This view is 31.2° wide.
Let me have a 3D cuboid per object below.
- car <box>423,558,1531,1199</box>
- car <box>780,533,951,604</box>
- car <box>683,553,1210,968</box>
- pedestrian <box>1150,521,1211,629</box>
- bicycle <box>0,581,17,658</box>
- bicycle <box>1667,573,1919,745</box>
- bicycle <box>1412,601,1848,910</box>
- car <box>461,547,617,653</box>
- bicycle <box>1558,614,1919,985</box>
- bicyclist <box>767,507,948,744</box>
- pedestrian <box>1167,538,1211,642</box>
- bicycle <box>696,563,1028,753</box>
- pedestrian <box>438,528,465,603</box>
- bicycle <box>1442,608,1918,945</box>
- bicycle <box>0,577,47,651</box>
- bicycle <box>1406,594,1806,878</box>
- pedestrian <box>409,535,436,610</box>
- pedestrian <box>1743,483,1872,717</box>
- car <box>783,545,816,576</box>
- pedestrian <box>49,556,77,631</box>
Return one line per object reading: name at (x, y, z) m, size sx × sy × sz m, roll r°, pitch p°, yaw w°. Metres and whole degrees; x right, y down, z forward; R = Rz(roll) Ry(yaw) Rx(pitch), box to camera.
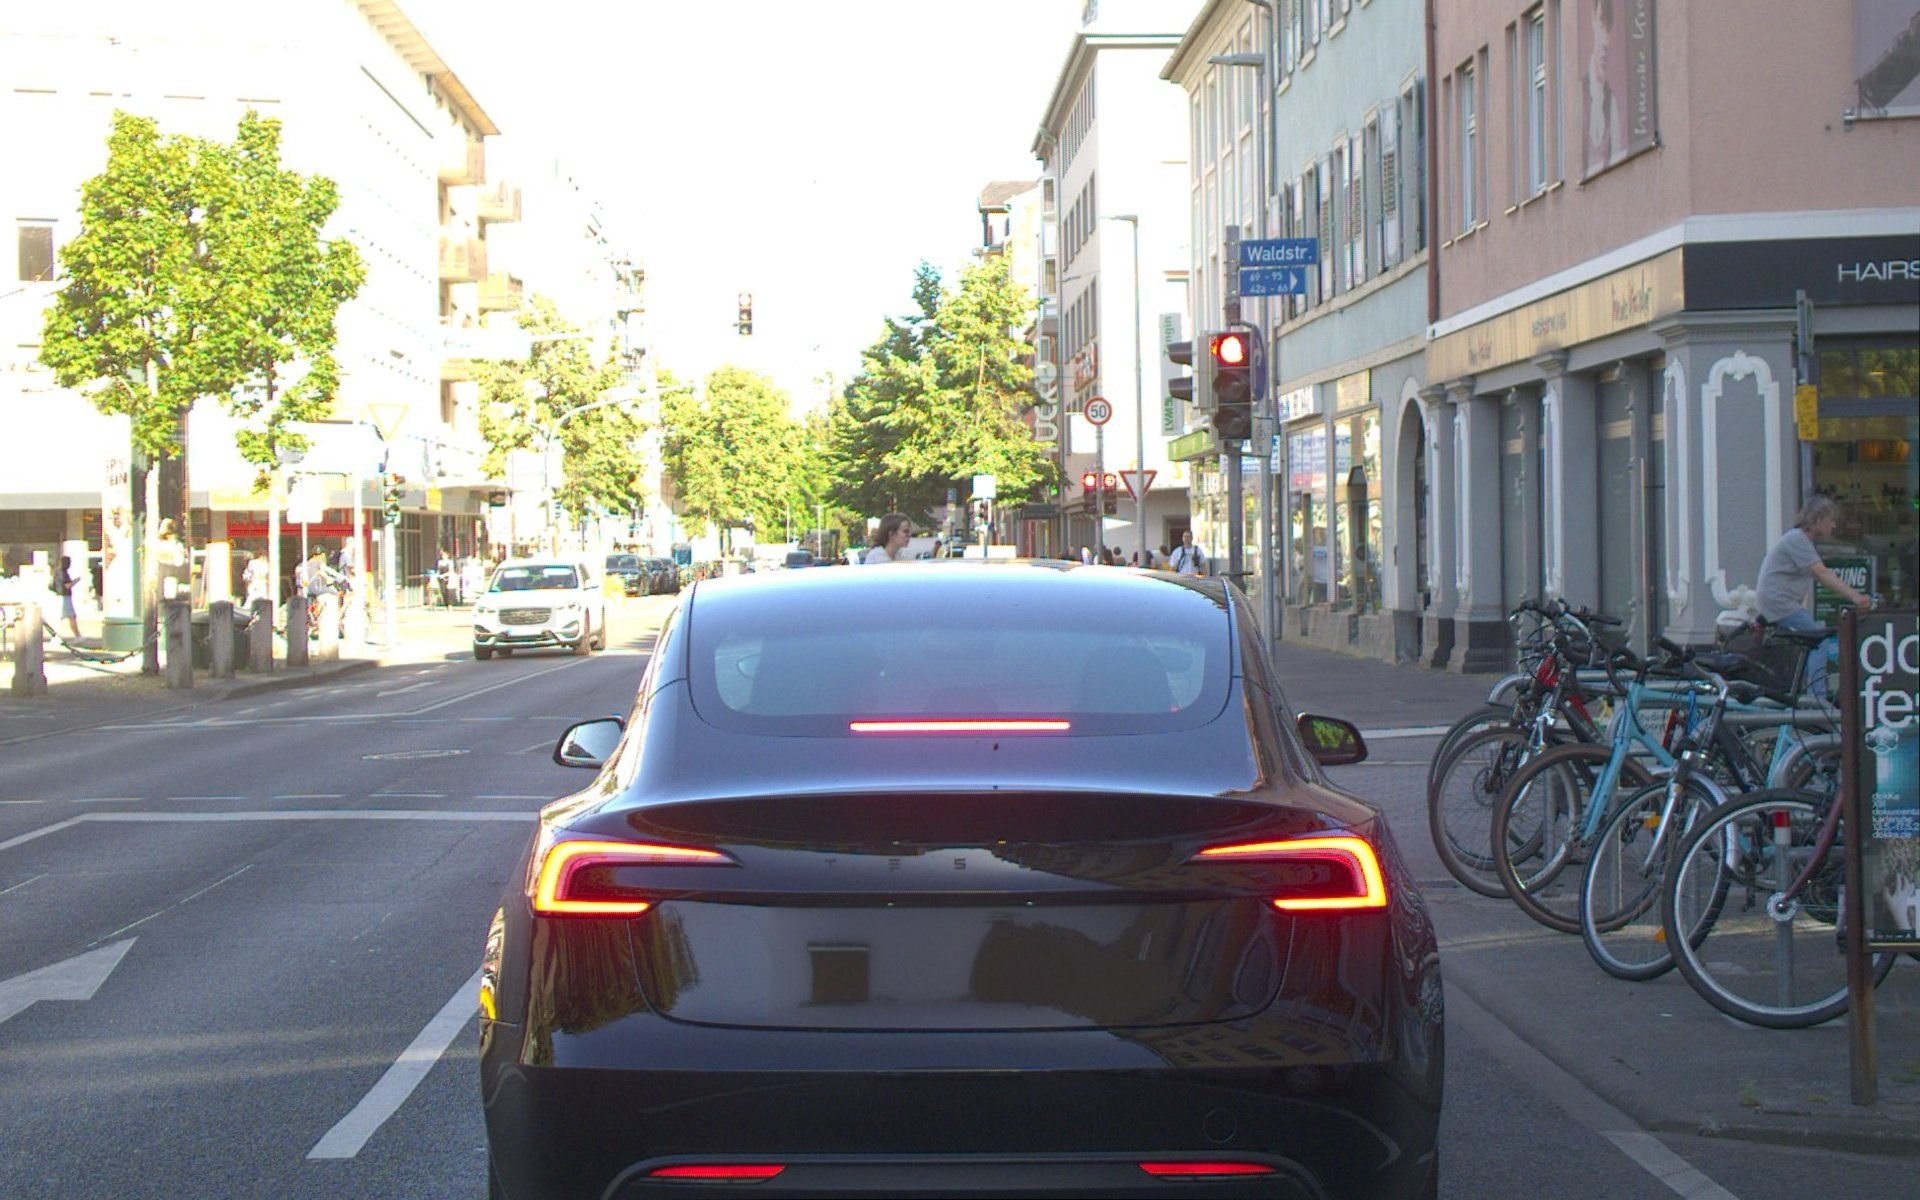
car at (0.034, 0.640, 7.639) m, size 1.850 × 1.450 × 3.786 m, roll 0°, pitch 1°, yaw 0°
car at (-2.397, -0.812, 85.929) m, size 2.050 × 1.721 × 4.653 m, roll -1°, pitch 1°, yaw -35°
car at (-0.041, 0.539, 13.976) m, size 1.850 × 1.450 × 3.786 m, roll 0°, pitch 1°, yaw 0°
pedestrian at (3.783, -0.431, 59.045) m, size 0.999 × 1.844 × 0.615 m, roll 0°, pitch 1°, yaw -1°
bicycle at (-14.917, 0.282, 50.205) m, size 2.082 × 1.100 × 0.806 m, roll 0°, pitch 1°, yaw -1°
bicycle at (5.261, 0.357, 21.519) m, size 1.616 × 1.041 × 0.590 m, roll 1°, pitch 0°, yaw 12°
bicycle at (2.679, 0.615, 13.804) m, size 1.627 × 1.156 × 0.433 m, roll -2°, pitch 1°, yaw -1°
car at (-6.790, -0.034, 55.824) m, size 1.993 × 1.535 × 4.000 m, roll -4°, pitch 1°, yaw -1°
bicycle at (2.859, 0.643, 11.424) m, size 1.627 × 1.156 × 0.433 m, roll -2°, pitch 1°, yaw -1°
bicyclist at (-0.693, 0.161, 23.447) m, size 1.098 × 1.583 × 0.628 m, roll 0°, pitch 1°, yaw 16°
pedestrian at (3.934, -0.181, 59.076) m, size 0.704 × 1.777 × 0.533 m, roll 0°, pitch 1°, yaw -1°
bicycle at (-0.667, 0.396, 23.452) m, size 2.127 × 1.196 × 0.628 m, roll -2°, pitch 0°, yaw 16°
pedestrian at (-13.562, -0.917, 91.711) m, size 0.626 × 2.007 × 0.575 m, roll 0°, pitch 1°, yaw -1°
bicycle at (2.642, 0.641, 12.680) m, size 1.627 × 1.156 × 0.433 m, roll -2°, pitch 1°, yaw -1°
bicycle at (-15.056, 0.211, 52.399) m, size 2.082 × 1.100 × 0.806 m, roll 0°, pitch 1°, yaw -1°
bicycle at (2.803, 0.585, 14.985) m, size 1.628 × 1.156 × 0.433 m, roll -2°, pitch 1°, yaw 1°
pedestrian at (-14.345, -0.739, 91.726) m, size 0.626 × 2.007 × 0.707 m, roll 0°, pitch 1°, yaw -1°
pedestrian at (5.296, -0.005, 21.509) m, size 0.743 × 1.435 × 0.582 m, roll 1°, pitch 0°, yaw 11°
car at (-9.099, -2.266, 194.937) m, size 1.829 × 1.718 × 4.000 m, roll 0°, pitch 1°, yaw -2°
pedestrian at (-16.143, -0.120, 61.880) m, size 0.420 × 1.335 × 0.394 m, roll 0°, pitch 1°, yaw -7°
